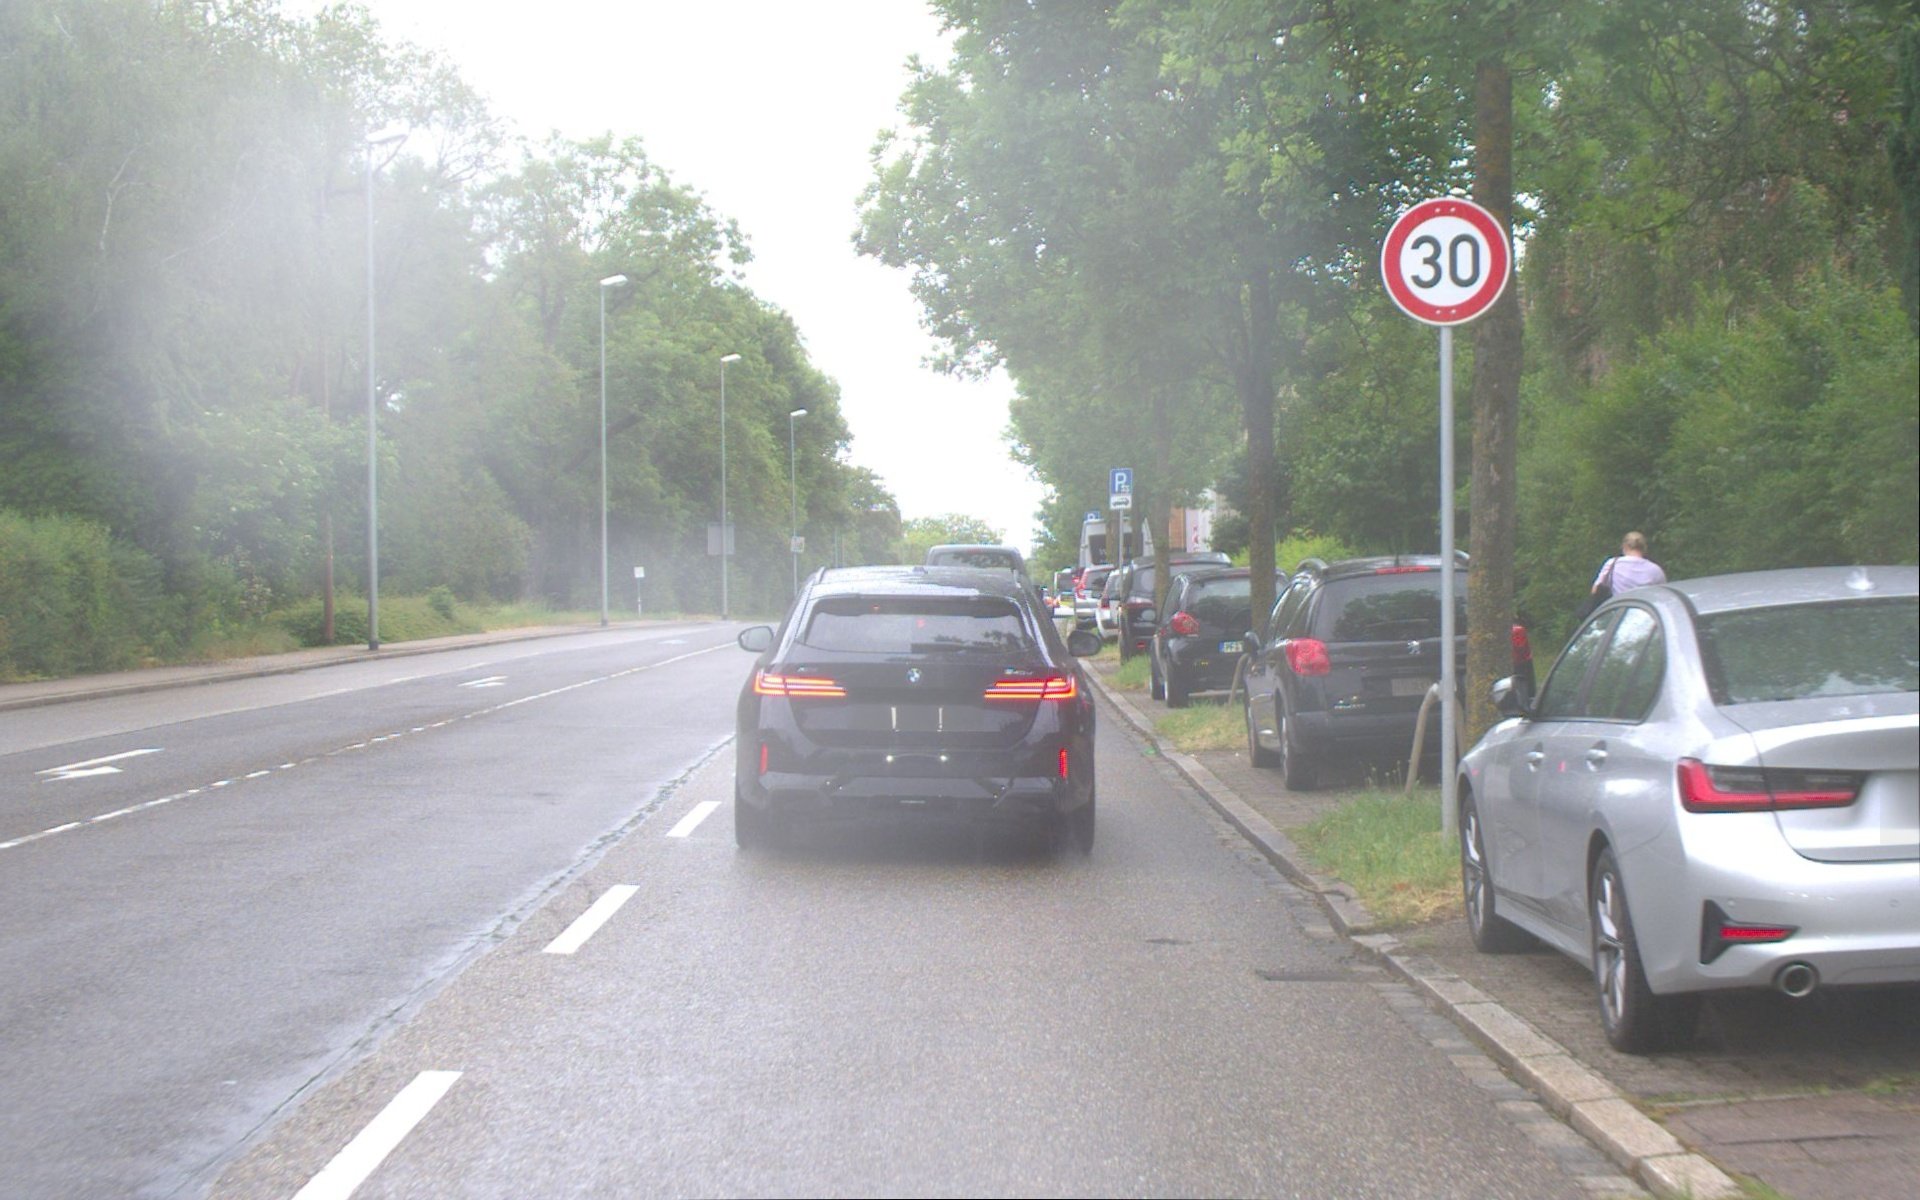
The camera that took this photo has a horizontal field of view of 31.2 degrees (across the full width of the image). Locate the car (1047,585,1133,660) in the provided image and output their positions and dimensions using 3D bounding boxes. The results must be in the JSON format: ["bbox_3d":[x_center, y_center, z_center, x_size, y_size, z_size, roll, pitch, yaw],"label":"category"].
[{"bbox_3d":[2.913,0.470,76.449,1.669,1.523,3.831,-3,0,4],"label":"car"}]

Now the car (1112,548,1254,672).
[{"bbox_3d":[3.238,0.111,50.568,1.824,1.672,4.584,-2,1,1],"label":"car"}]

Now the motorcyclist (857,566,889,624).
[{"bbox_3d":[-2.556,-0.143,101.008,0.811,1.675,0.651,1,0,11],"label":"motorcyclist"}]

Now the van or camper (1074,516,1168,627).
[{"bbox_3d":[4.117,-0.745,88.063,2.198,2.642,7.301,-2,1,3],"label":"van or camper"}]

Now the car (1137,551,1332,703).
[{"bbox_3d":[2.939,0.252,37.461,1.722,1.507,3.786,-2,1,-1],"label":"car"}]

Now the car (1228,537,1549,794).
[{"bbox_3d":[2.902,0.390,24.034,1.641,1.590,4.014,-2,1,-1],"label":"car"}]

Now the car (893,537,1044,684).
[{"bbox_3d":[0.163,0.152,48.861,1.994,2.007,4.000,0,0,2],"label":"car"}]

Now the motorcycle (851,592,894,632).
[{"bbox_3d":[-2.566,0.347,101.013,0.822,1.114,2.188,1,1,10],"label":"motorcycle"}]

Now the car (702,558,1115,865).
[{"bbox_3d":[-0.264,0.557,19.025,1.993,1.448,4.000,2,0,0],"label":"car"}]

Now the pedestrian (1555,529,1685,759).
[{"bbox_3d":[4.939,0.322,25.766,0.716,1.674,0.895,-2,0,-3],"label":"pedestrian"}]

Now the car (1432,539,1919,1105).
[{"bbox_3d":[2.853,0.576,11.813,1.799,1.517,4.591,-2,1,0],"label":"car"}]

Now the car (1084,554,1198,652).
[{"bbox_3d":[3.261,0.023,61.212,1.824,1.597,4.473,-2,1,5],"label":"car"}]
